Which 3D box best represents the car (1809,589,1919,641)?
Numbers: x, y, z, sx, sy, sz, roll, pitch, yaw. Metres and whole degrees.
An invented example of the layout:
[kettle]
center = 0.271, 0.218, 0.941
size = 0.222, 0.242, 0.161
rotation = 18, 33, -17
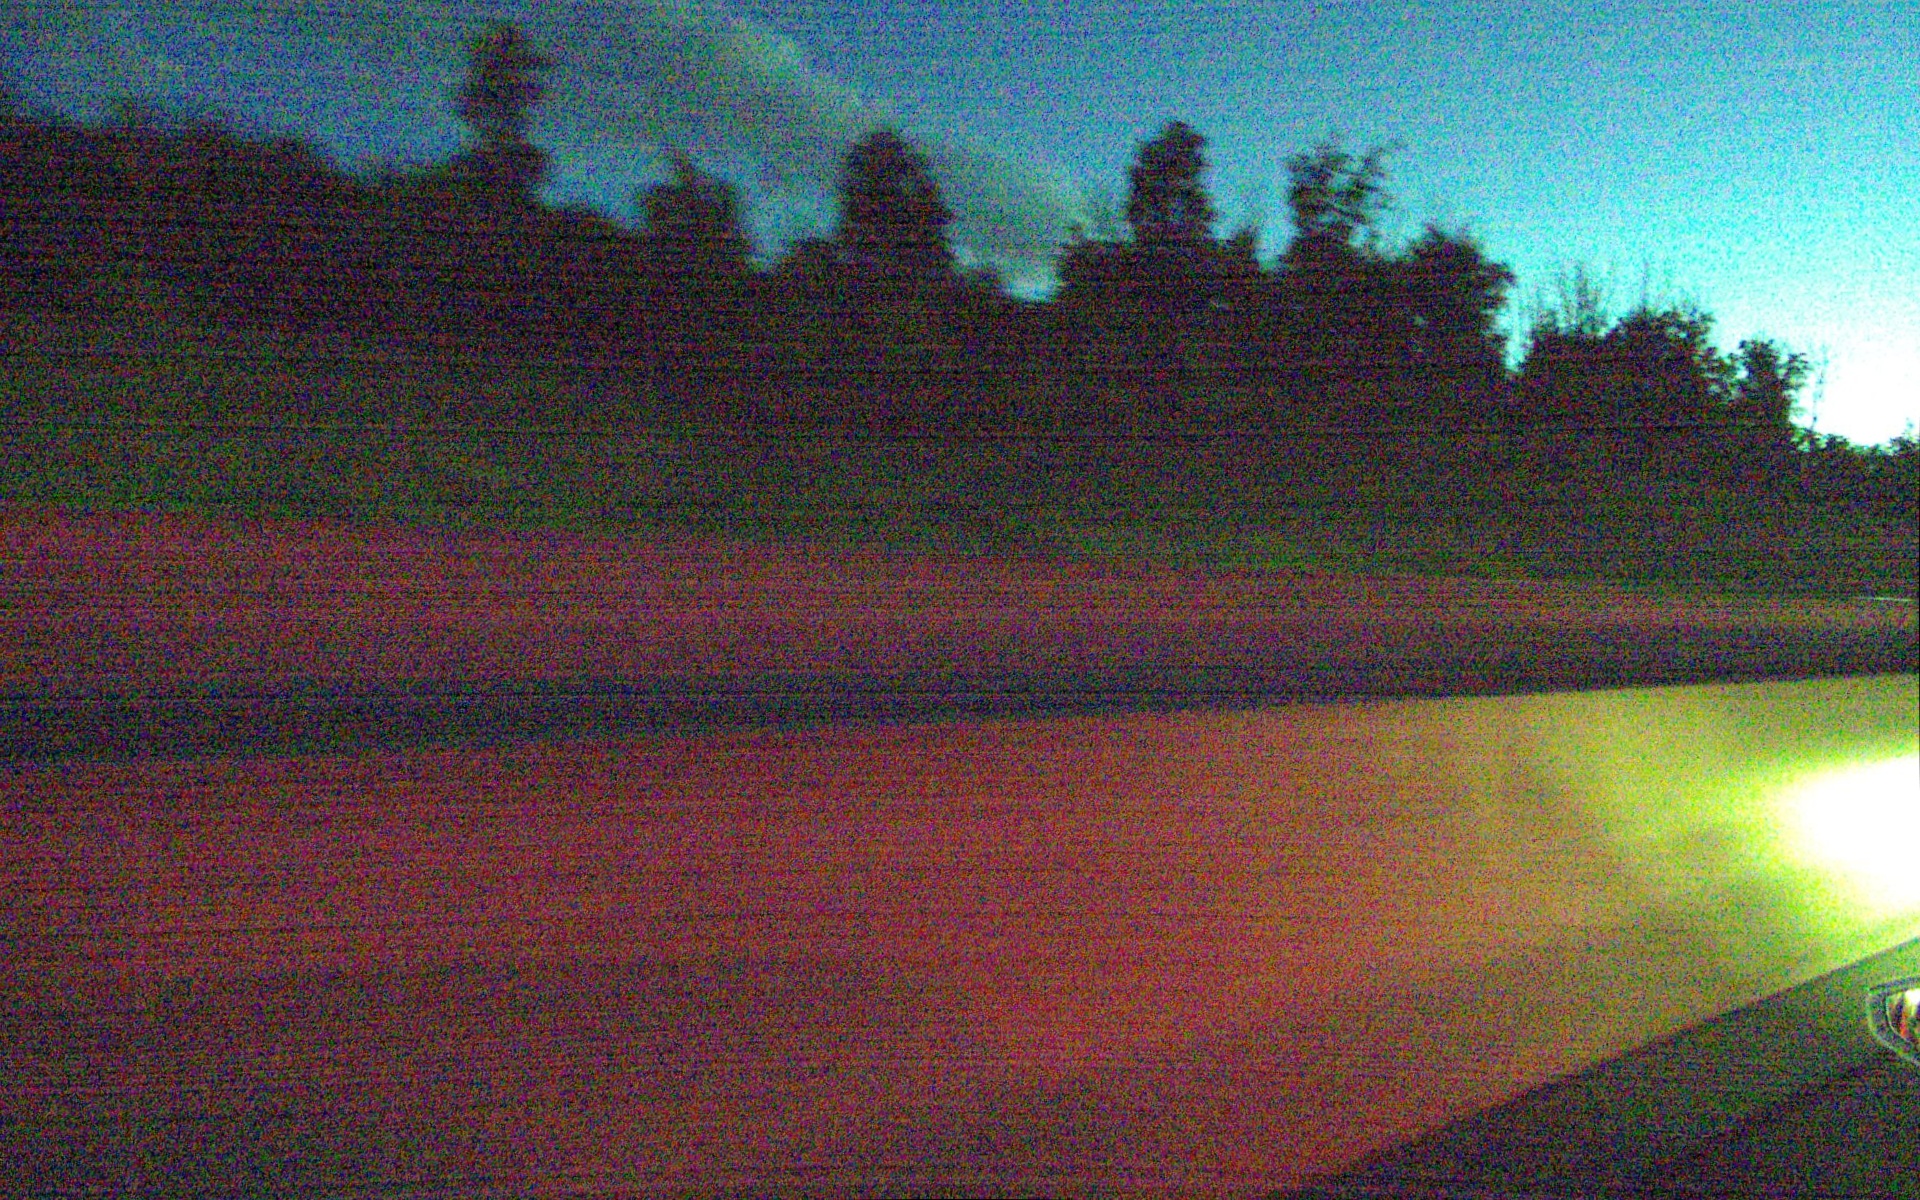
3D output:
[car]
center = 32.802, 0.508, 36.171
size = 4.695, 1.658, 1.981
rotation = 0, 4, -32
